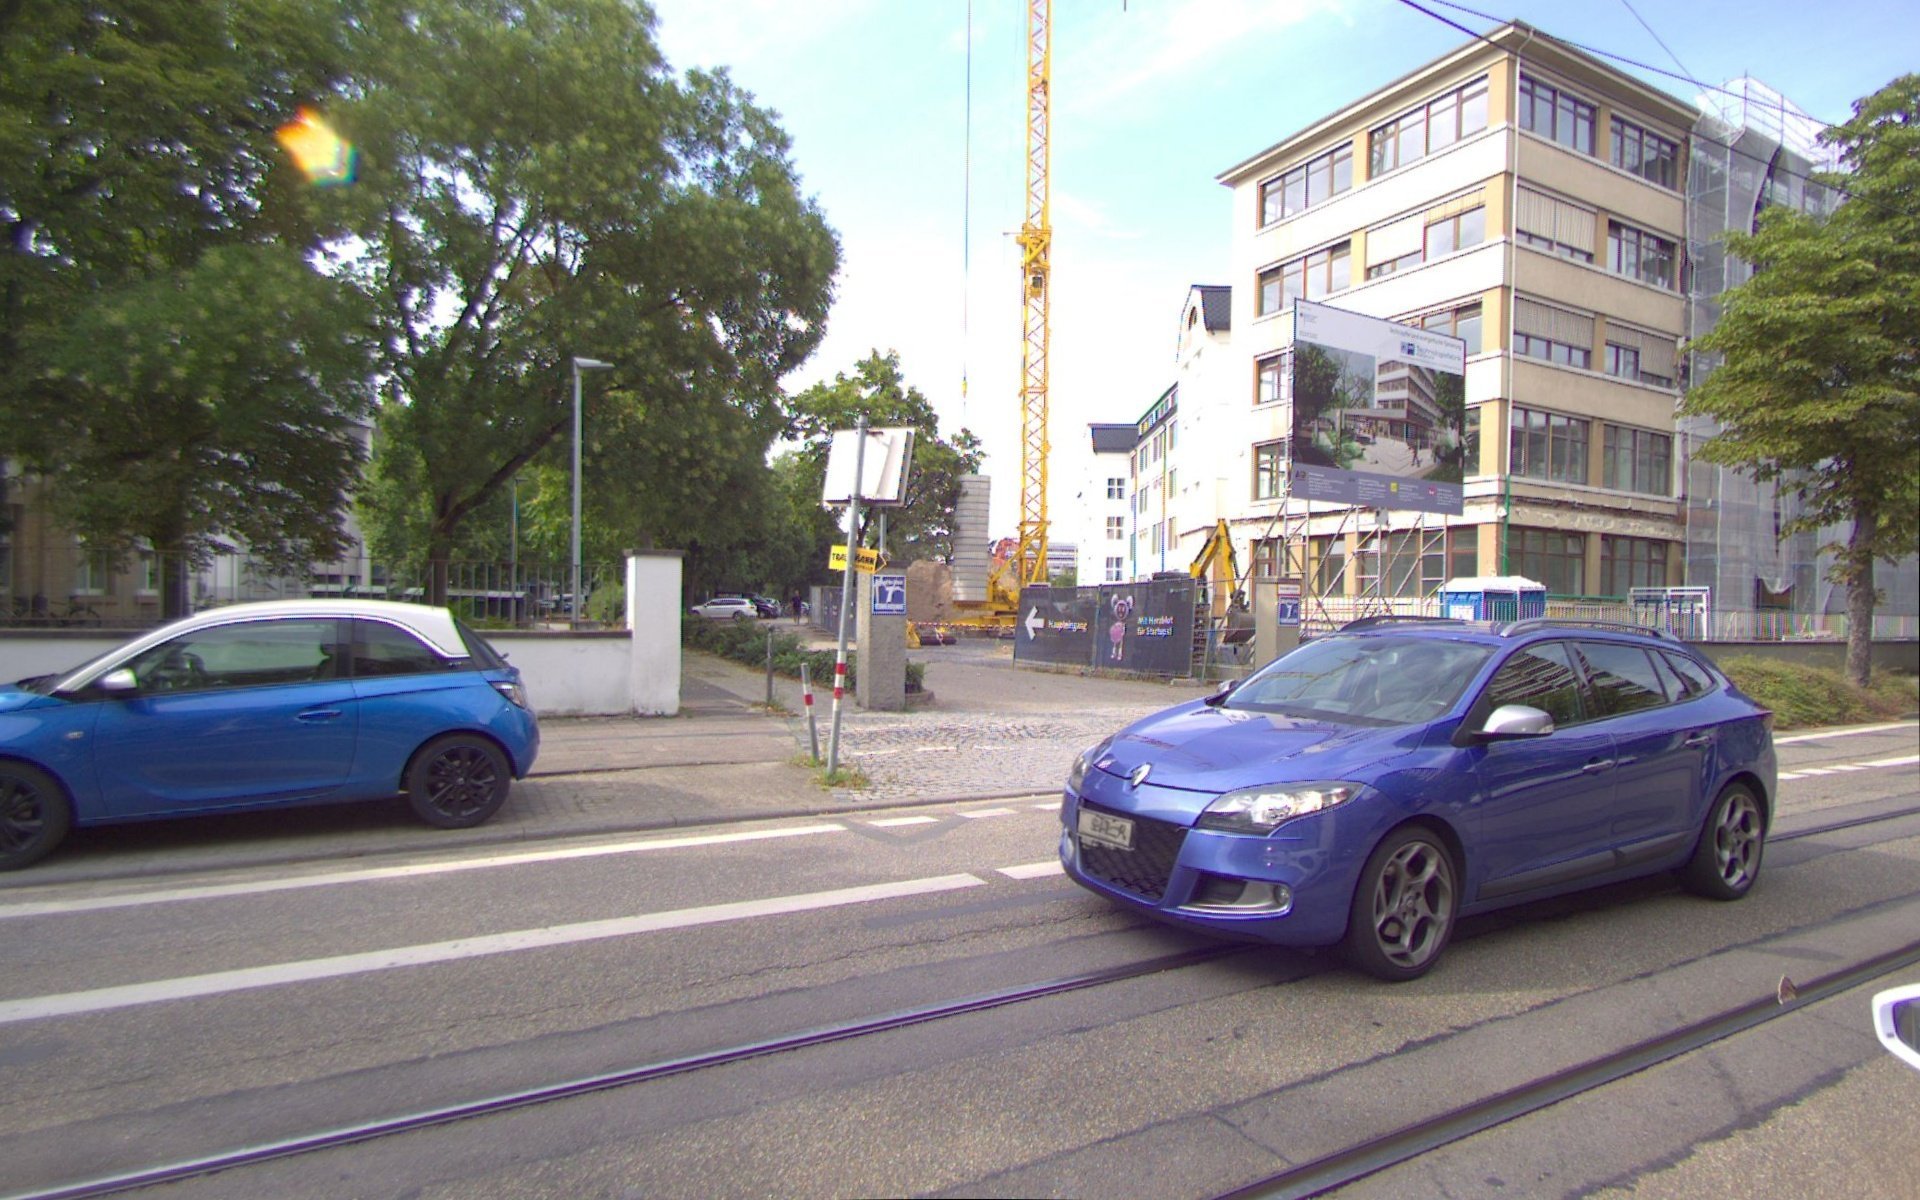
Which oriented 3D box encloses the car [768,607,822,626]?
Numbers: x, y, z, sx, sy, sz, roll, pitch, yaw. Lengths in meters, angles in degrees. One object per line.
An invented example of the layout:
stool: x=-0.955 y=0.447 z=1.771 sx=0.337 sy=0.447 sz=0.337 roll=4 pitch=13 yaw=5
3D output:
car: x=-14.956 y=1.497 z=91.370 sx=4.719 sy=1.508 sz=1.998 roll=2 pitch=0 yaw=-7

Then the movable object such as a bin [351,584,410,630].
movable object such as a bin: x=-18.986 y=0.228 z=32.922 sx=1.259 sy=1.449 sz=1.122 roll=2 pitch=0 yaw=-1

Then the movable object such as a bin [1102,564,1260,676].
movable object such as a bin: x=5.259 y=0.472 z=24.261 sx=2.459 sy=2.475 sz=3.048 roll=2 pitch=0 yaw=-19

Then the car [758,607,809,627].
car: x=-15.447 y=1.488 z=88.051 sx=4.267 sy=1.564 sz=1.751 roll=2 pitch=0 yaw=-7

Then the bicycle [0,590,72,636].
bicycle: x=-22.966 y=0.306 z=24.516 sx=1.940 sy=1.057 sz=0.594 roll=2 pitch=1 yaw=-4

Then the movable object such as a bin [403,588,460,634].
movable object such as a bin: x=-17.412 y=0.368 z=33.112 sx=1.259 sy=1.449 sz=1.122 roll=2 pitch=0 yaw=-1

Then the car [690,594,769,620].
car: x=-14.628 y=0.455 z=63.990 sx=4.719 sy=1.508 sz=1.998 roll=2 pitch=0 yaw=-7

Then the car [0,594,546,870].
car: x=-4.758 y=0.736 z=6.635 sx=3.560 sy=1.484 sz=1.620 roll=1 pitch=0 yaw=-30

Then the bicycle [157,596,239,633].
bicycle: x=-23.068 y=0.447 z=30.435 sx=1.940 sy=1.057 sz=0.594 roll=2 pitch=1 yaw=-4

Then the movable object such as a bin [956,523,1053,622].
movable object such as a bin: x=3.515 y=-1.851 z=74.324 sx=3.781 sy=6.758 sz=10.987 roll=2 pitch=0 yaw=20

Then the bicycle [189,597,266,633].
bicycle: x=-23.179 y=0.466 z=31.790 sx=1.940 sy=1.057 sz=0.594 roll=2 pitch=1 yaw=-4

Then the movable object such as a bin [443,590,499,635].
movable object such as a bin: x=-16.074 y=0.409 z=33.031 sx=1.259 sy=1.449 sz=1.122 roll=2 pitch=0 yaw=-1

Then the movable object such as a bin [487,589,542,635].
movable object such as a bin: x=-14.556 y=0.393 z=32.857 sx=1.259 sy=1.449 sz=1.122 roll=2 pitch=0 yaw=-1

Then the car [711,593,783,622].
car: x=-15.915 y=0.579 z=75.289 sx=4.965 sy=1.979 sz=1.999 roll=2 pitch=0 yaw=-3

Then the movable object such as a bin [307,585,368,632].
movable object such as a bin: x=-20.349 y=0.277 z=32.866 sx=1.259 sy=1.449 sz=1.122 roll=2 pitch=0 yaw=-1

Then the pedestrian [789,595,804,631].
pedestrian: x=-8.521 y=0.670 z=52.375 sx=0.736 sy=1.813 sz=0.730 roll=2 pitch=0 yaw=-7

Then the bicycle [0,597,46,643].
bicycle: x=-22.885 y=0.453 z=23.735 sx=1.940 sy=1.057 sz=0.594 roll=2 pitch=1 yaw=-4

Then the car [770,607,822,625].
car: x=-15.323 y=1.514 z=94.198 sx=4.719 sy=1.508 sz=1.998 roll=2 pitch=0 yaw=-7

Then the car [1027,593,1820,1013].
car: x=2.638 y=0.768 z=5.454 sx=4.325 sy=1.516 sz=1.724 roll=1 pitch=-1 yaw=-29

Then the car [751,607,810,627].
car: x=-15.216 y=1.457 z=85.385 sx=4.719 sy=1.508 sz=1.998 roll=2 pitch=0 yaw=-7

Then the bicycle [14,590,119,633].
bicycle: x=-23.357 y=0.306 z=26.301 sx=1.953 sy=1.057 sz=0.590 roll=1 pitch=1 yaw=-28
